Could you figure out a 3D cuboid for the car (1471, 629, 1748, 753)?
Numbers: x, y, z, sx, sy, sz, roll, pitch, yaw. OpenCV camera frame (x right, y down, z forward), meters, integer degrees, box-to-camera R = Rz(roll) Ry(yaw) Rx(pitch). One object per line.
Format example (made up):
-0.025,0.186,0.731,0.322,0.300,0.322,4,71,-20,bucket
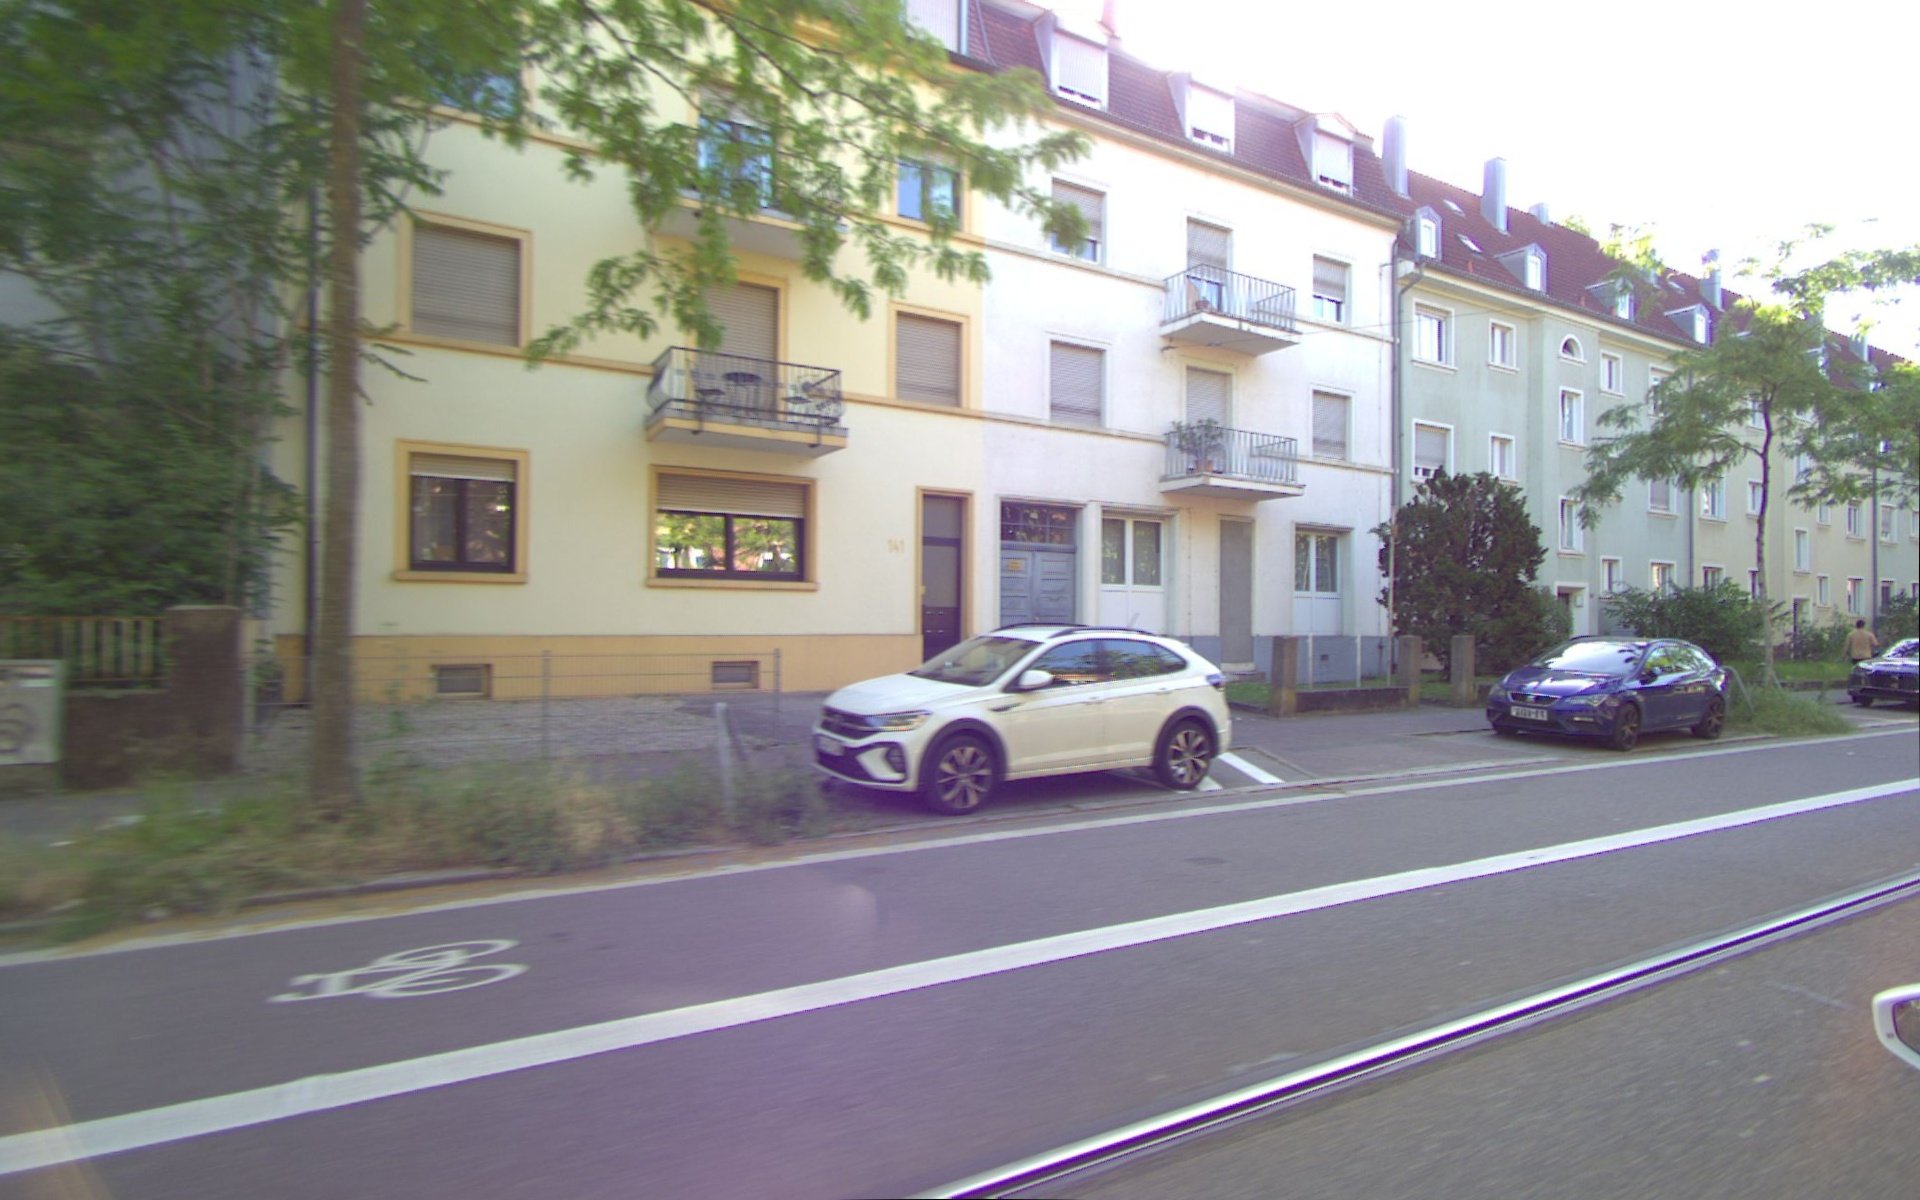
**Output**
9.662,1.239,14.849,4.389,1.531,1.748,1,0,-32,car

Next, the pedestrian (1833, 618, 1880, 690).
23.389,1.402,26.210,0.804,1.825,0.688,1,-2,-31,pedestrian

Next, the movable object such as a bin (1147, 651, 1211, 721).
3.264,1.272,15.012,0.723,0.989,0.557,1,1,-28,movable object such as a bin

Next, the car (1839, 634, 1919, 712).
20.707,1.513,21.389,4.158,1.505,1.808,1,0,-31,car

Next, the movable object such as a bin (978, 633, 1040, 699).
0.832,1.115,17.184,0.723,1.060,0.841,1,1,-27,movable object such as a bin

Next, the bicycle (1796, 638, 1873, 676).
30.040,1.944,34.541,0.516,1.193,1.896,1,0,-32,bicycle

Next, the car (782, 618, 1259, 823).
0.668,0.984,9.621,4.322,1.531,1.807,1,0,-32,car
